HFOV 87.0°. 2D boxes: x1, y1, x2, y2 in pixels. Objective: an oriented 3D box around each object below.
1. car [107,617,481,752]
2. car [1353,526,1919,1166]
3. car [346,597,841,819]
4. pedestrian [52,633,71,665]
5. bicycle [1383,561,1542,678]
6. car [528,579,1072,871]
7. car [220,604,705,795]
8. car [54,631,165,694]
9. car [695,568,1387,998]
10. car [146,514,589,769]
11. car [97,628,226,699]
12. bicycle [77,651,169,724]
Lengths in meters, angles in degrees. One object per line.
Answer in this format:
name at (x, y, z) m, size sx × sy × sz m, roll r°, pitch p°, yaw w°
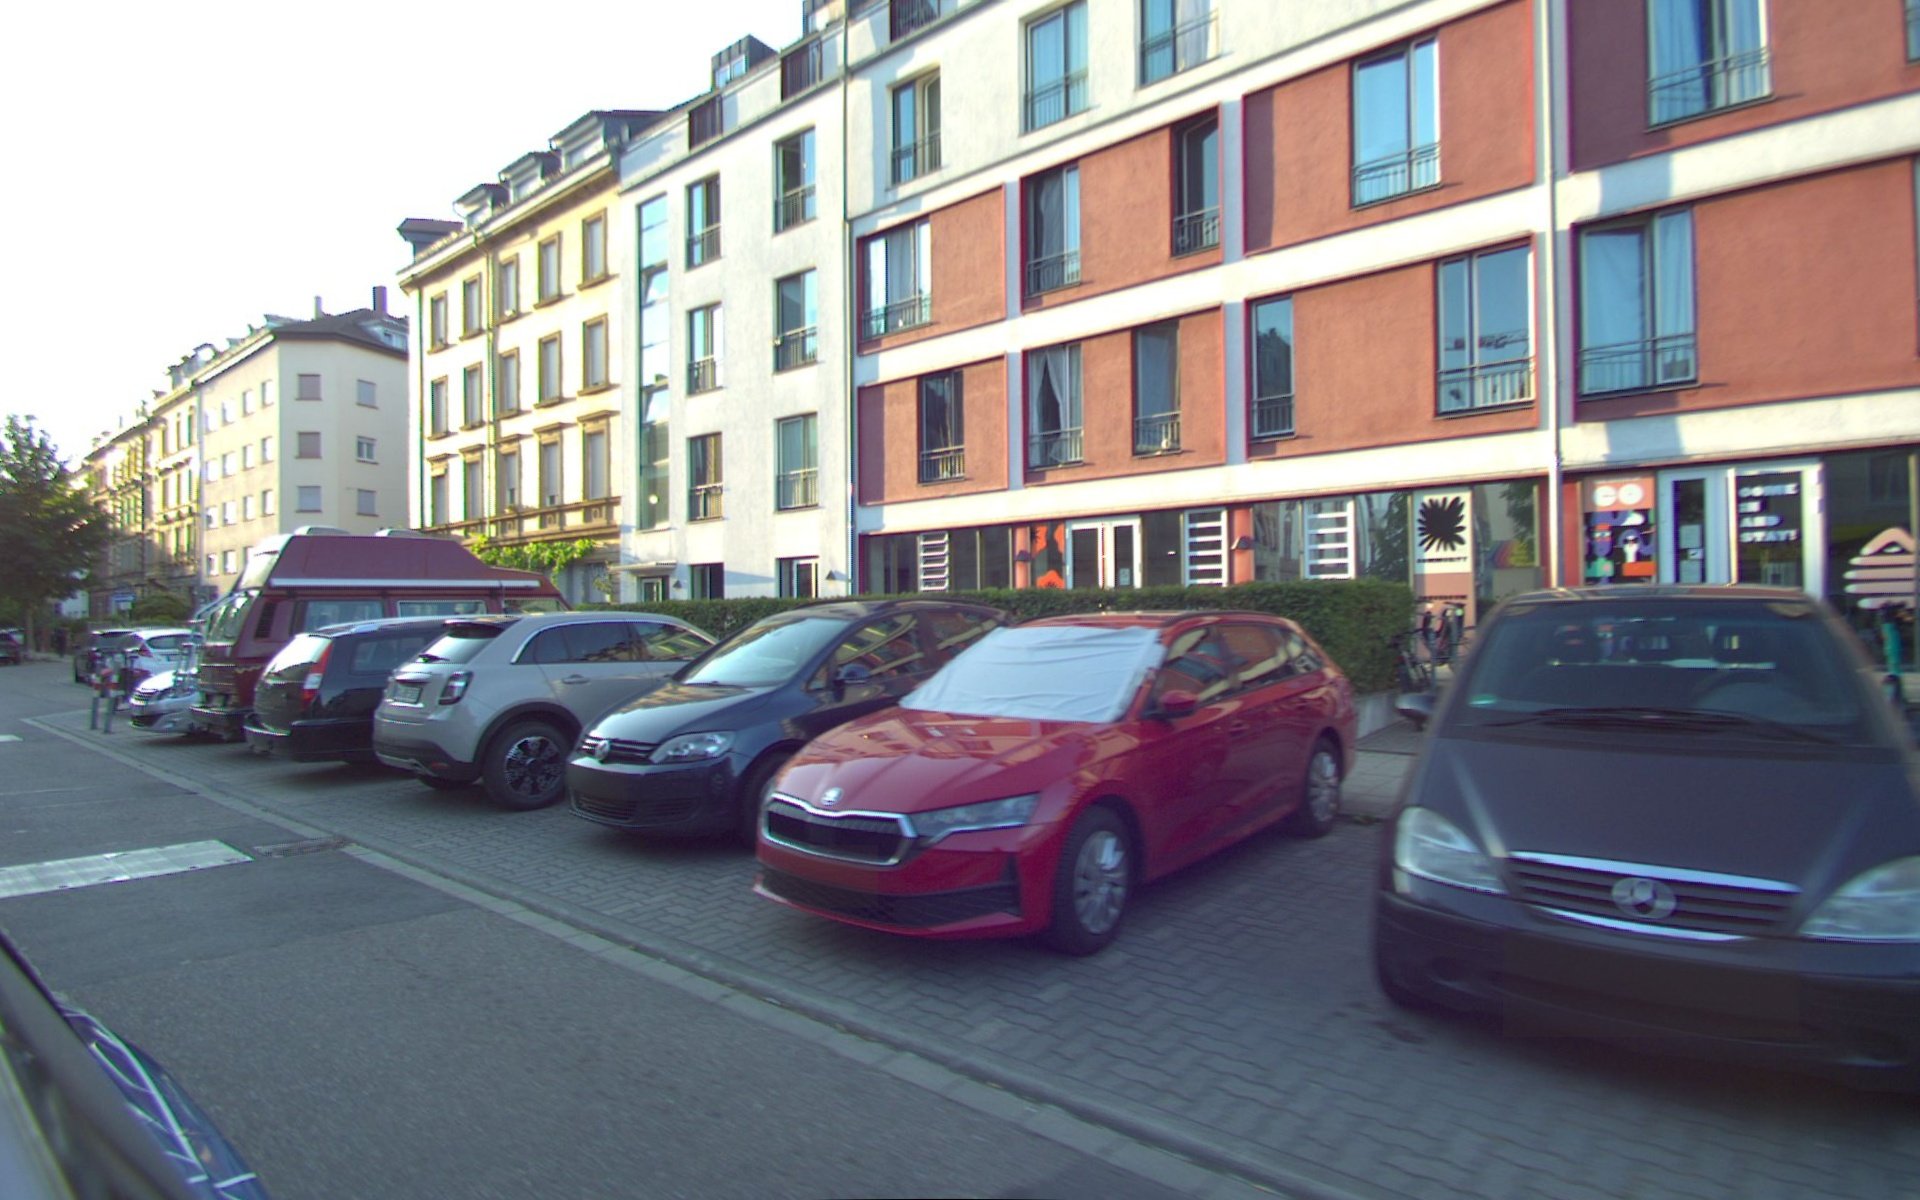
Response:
car at (-9.035, 1.040, 14.046) m, size 1.799 × 1.427 × 3.945 m, roll -2°, pitch 1°, yaw 33°
car at (3.074, 0.598, 4.152) m, size 1.782 × 1.574 × 3.497 m, roll -2°, pitch 0°, yaw 38°
car at (-3.161, 0.787, 9.297) m, size 1.755 × 1.551 × 3.907 m, roll -2°, pitch 0°, yaw 42°
pedestrian at (-44.299, 2.403, 49.883) m, size 0.638 × 1.545 × 0.636 m, roll -2°, pitch -2°, yaw 42°
bicycle at (6.088, 0.233, 12.380) m, size 0.505 × 1.323 × 1.822 m, roll -1°, pitch -1°, yaw -24°
car at (-0.982, 0.689, 7.654) m, size 1.699 × 1.629 × 3.845 m, roll -2°, pitch 0°, yaw 42°
car at (-5.010, 0.864, 10.736) m, size 1.704 × 1.536 × 4.293 m, roll -2°, pitch 0°, yaw 39°
car at (-23.272, 1.662, 27.655) m, size 3.733 × 1.534 × 1.577 m, roll -2°, pitch 1°, yaw 38°
car at (0.807, 0.655, 5.752) m, size 1.787 × 1.505 × 4.219 m, roll -2°, pitch -1°, yaw 40°
car at (-7.112, 0.438, 12.529) m, size 1.931 × 2.576 × 4.356 m, roll -2°, pitch -1°, yaw 41°
car at (-19.391, 1.488, 24.531) m, size 3.578 × 1.522 × 1.658 m, roll -2°, pitch 0°, yaw 38°
bicycle at (-13.719, 1.389, 16.554) m, size 2.413 × 1.062 × 0.795 m, roll -2°, pitch -1°, yaw 42°
